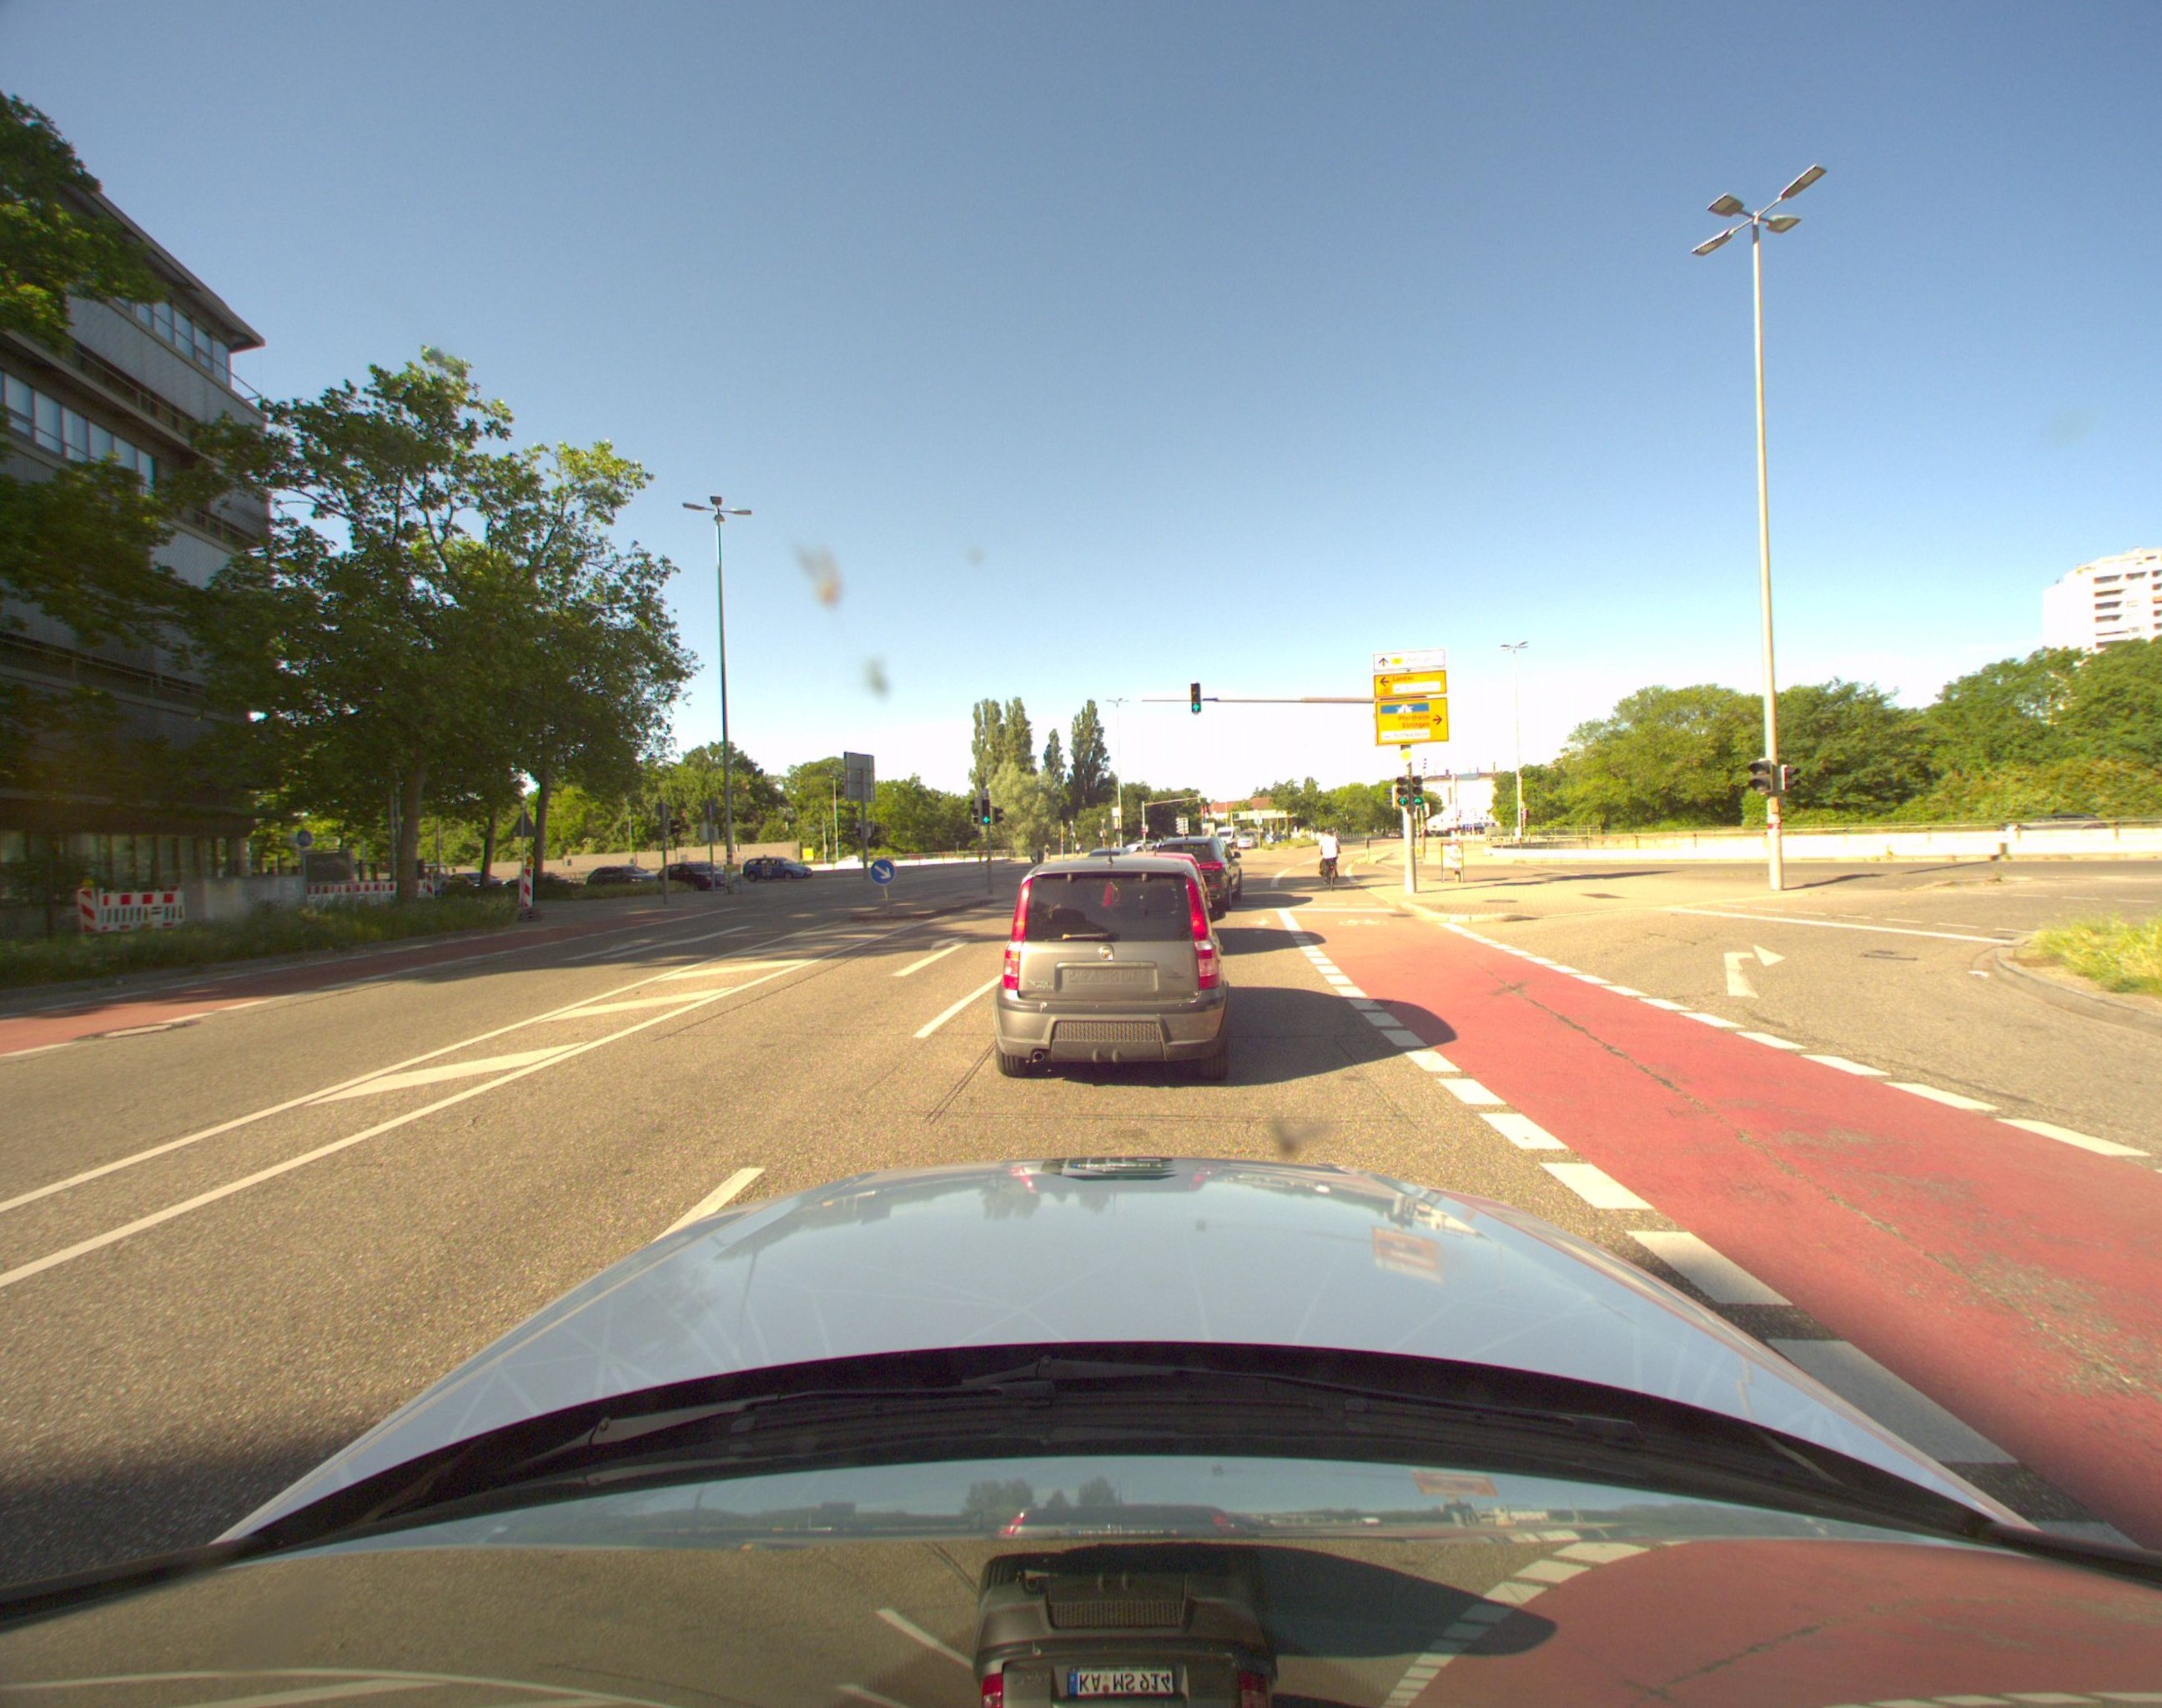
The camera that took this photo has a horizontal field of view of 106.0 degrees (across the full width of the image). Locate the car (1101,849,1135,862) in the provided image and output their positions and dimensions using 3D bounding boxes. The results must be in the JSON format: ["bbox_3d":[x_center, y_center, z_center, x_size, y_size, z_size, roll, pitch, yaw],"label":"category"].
[{"bbox_3d":[4.752,0.133,104.116,4.018,1.625,1.880,0,-1,-37],"label":"car"}]

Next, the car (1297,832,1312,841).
[{"bbox_3d":[46.967,-3.644,170.823,1.974,1.816,4.025,-1,-1,32],"label":"car"}]

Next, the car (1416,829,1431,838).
[{"bbox_3d":[63.578,-3.802,151.224,1.926,1.528,4.123,-2,1,30],"label":"car"}]

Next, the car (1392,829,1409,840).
[{"bbox_3d":[50.180,-3.086,127.845,1.926,1.528,4.123,-2,1,30],"label":"car"}]

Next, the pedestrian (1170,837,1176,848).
[{"bbox_3d":[14.275,-1.782,126.268,0.713,1.641,0.676,-1,-1,27],"label":"pedestrian"}]

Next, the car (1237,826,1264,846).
[{"bbox_3d":[18.060,-1.918,86.520,1.920,2.008,4.958,-2,1,22],"label":"car"}]

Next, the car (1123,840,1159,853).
[{"bbox_3d":[7.522,-0.930,101.925,4.351,1.535,1.764,-3,2,-39],"label":"car"}]

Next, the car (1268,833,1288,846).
[{"bbox_3d":[25.491,-1.881,105.272,1.920,1.622,4.530,-2,1,22],"label":"car"}]

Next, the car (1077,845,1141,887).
[{"bbox_3d":[1.160,0.416,31.421,1.769,1.415,4.333,-1,1,11],"label":"car"}]

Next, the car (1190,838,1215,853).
[{"bbox_3d":[13.693,-0.927,91.599,1.920,1.507,4.020,-3,1,19],"label":"car"}]

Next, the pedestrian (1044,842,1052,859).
[{"bbox_3d":[-3.041,-0.326,75.104,0.678,1.463,0.702,-2,1,-4],"label":"pedestrian"}]

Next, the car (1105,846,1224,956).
[{"bbox_3d":[1.408,0.641,13.297,1.609,1.463,3.759,-2,1,7],"label":"car"}]

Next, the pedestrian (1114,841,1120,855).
[{"bbox_3d":[4.212,-0.733,95.323,0.557,1.547,0.573,-3,-1,-14],"label":"pedestrian"}]

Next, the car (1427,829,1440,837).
[{"bbox_3d":[71.399,-4.213,164.921,1.926,1.528,4.123,-2,1,30],"label":"car"}]

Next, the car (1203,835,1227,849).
[{"bbox_3d":[16.204,-1.449,98.149,1.795,1.541,4.641,-3,1,21],"label":"car"}]

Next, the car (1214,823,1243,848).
[{"bbox_3d":[16.440,-2.072,90.551,1.920,2.576,6.122,-2,1,22],"label":"car"}]

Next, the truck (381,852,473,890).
[{"bbox_3d":[-43.623,1.146,54.275,7.418,2.359,2.178,-2,1,30],"label":"truck"}]

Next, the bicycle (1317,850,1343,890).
[{"bbox_3d":[7.398,0.469,24.254,0.686,1.102,1.834,-1,1,15],"label":"bicycle"}]

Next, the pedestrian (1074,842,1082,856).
[{"bbox_3d":[-0.371,-0.546,93.614,0.710,1.547,0.725,-3,-1,-14],"label":"pedestrian"}]

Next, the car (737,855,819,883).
[{"bbox_3d":[-18.905,0.941,50.891,4.410,1.540,1.960,-2,1,15],"label":"car"}]

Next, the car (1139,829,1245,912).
[{"bbox_3d":[2.914,0.343,20.496,1.930,1.840,4.172,-2,1,17],"label":"car"}]

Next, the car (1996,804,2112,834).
[{"bbox_3d":[59.057,-2.113,49.553,4.190,1.552,1.873,-2,1,39],"label":"car"}]

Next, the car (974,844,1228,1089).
[{"bbox_3d":[0.360,0.691,7.093,1.609,1.515,3.828,-1,1,7],"label":"car"}]

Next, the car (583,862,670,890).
[{"bbox_3d":[-24.925,1.228,44.648,4.452,1.358,1.892,-2,1,27],"label":"car"}]

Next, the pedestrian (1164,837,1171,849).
[{"bbox_3d":[12.899,-1.636,121.812,0.633,1.664,0.782,0,-1,-42],"label":"pedestrian"}]

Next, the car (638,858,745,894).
[{"bbox_3d":[-19.660,1.099,41.139,4.731,1.621,1.961,-2,1,18],"label":"car"}]

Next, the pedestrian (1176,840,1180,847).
[{"bbox_3d":[14.984,-1.613,125.960,0.419,1.136,0.400,-1,-1,27],"label":"pedestrian"}]

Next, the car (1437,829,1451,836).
[{"bbox_3d":[82.817,-4.953,185.765,1.926,1.528,4.124,-2,1,39],"label":"car"}]

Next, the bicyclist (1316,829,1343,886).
[{"bbox_3d":[7.378,0.085,24.217,0.719,1.659,1.117,-1,1,15],"label":"bicyclist"}]

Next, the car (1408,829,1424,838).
[{"bbox_3d":[56.648,-3.470,137.794,1.926,1.528,4.123,-2,1,31],"label":"car"}]
